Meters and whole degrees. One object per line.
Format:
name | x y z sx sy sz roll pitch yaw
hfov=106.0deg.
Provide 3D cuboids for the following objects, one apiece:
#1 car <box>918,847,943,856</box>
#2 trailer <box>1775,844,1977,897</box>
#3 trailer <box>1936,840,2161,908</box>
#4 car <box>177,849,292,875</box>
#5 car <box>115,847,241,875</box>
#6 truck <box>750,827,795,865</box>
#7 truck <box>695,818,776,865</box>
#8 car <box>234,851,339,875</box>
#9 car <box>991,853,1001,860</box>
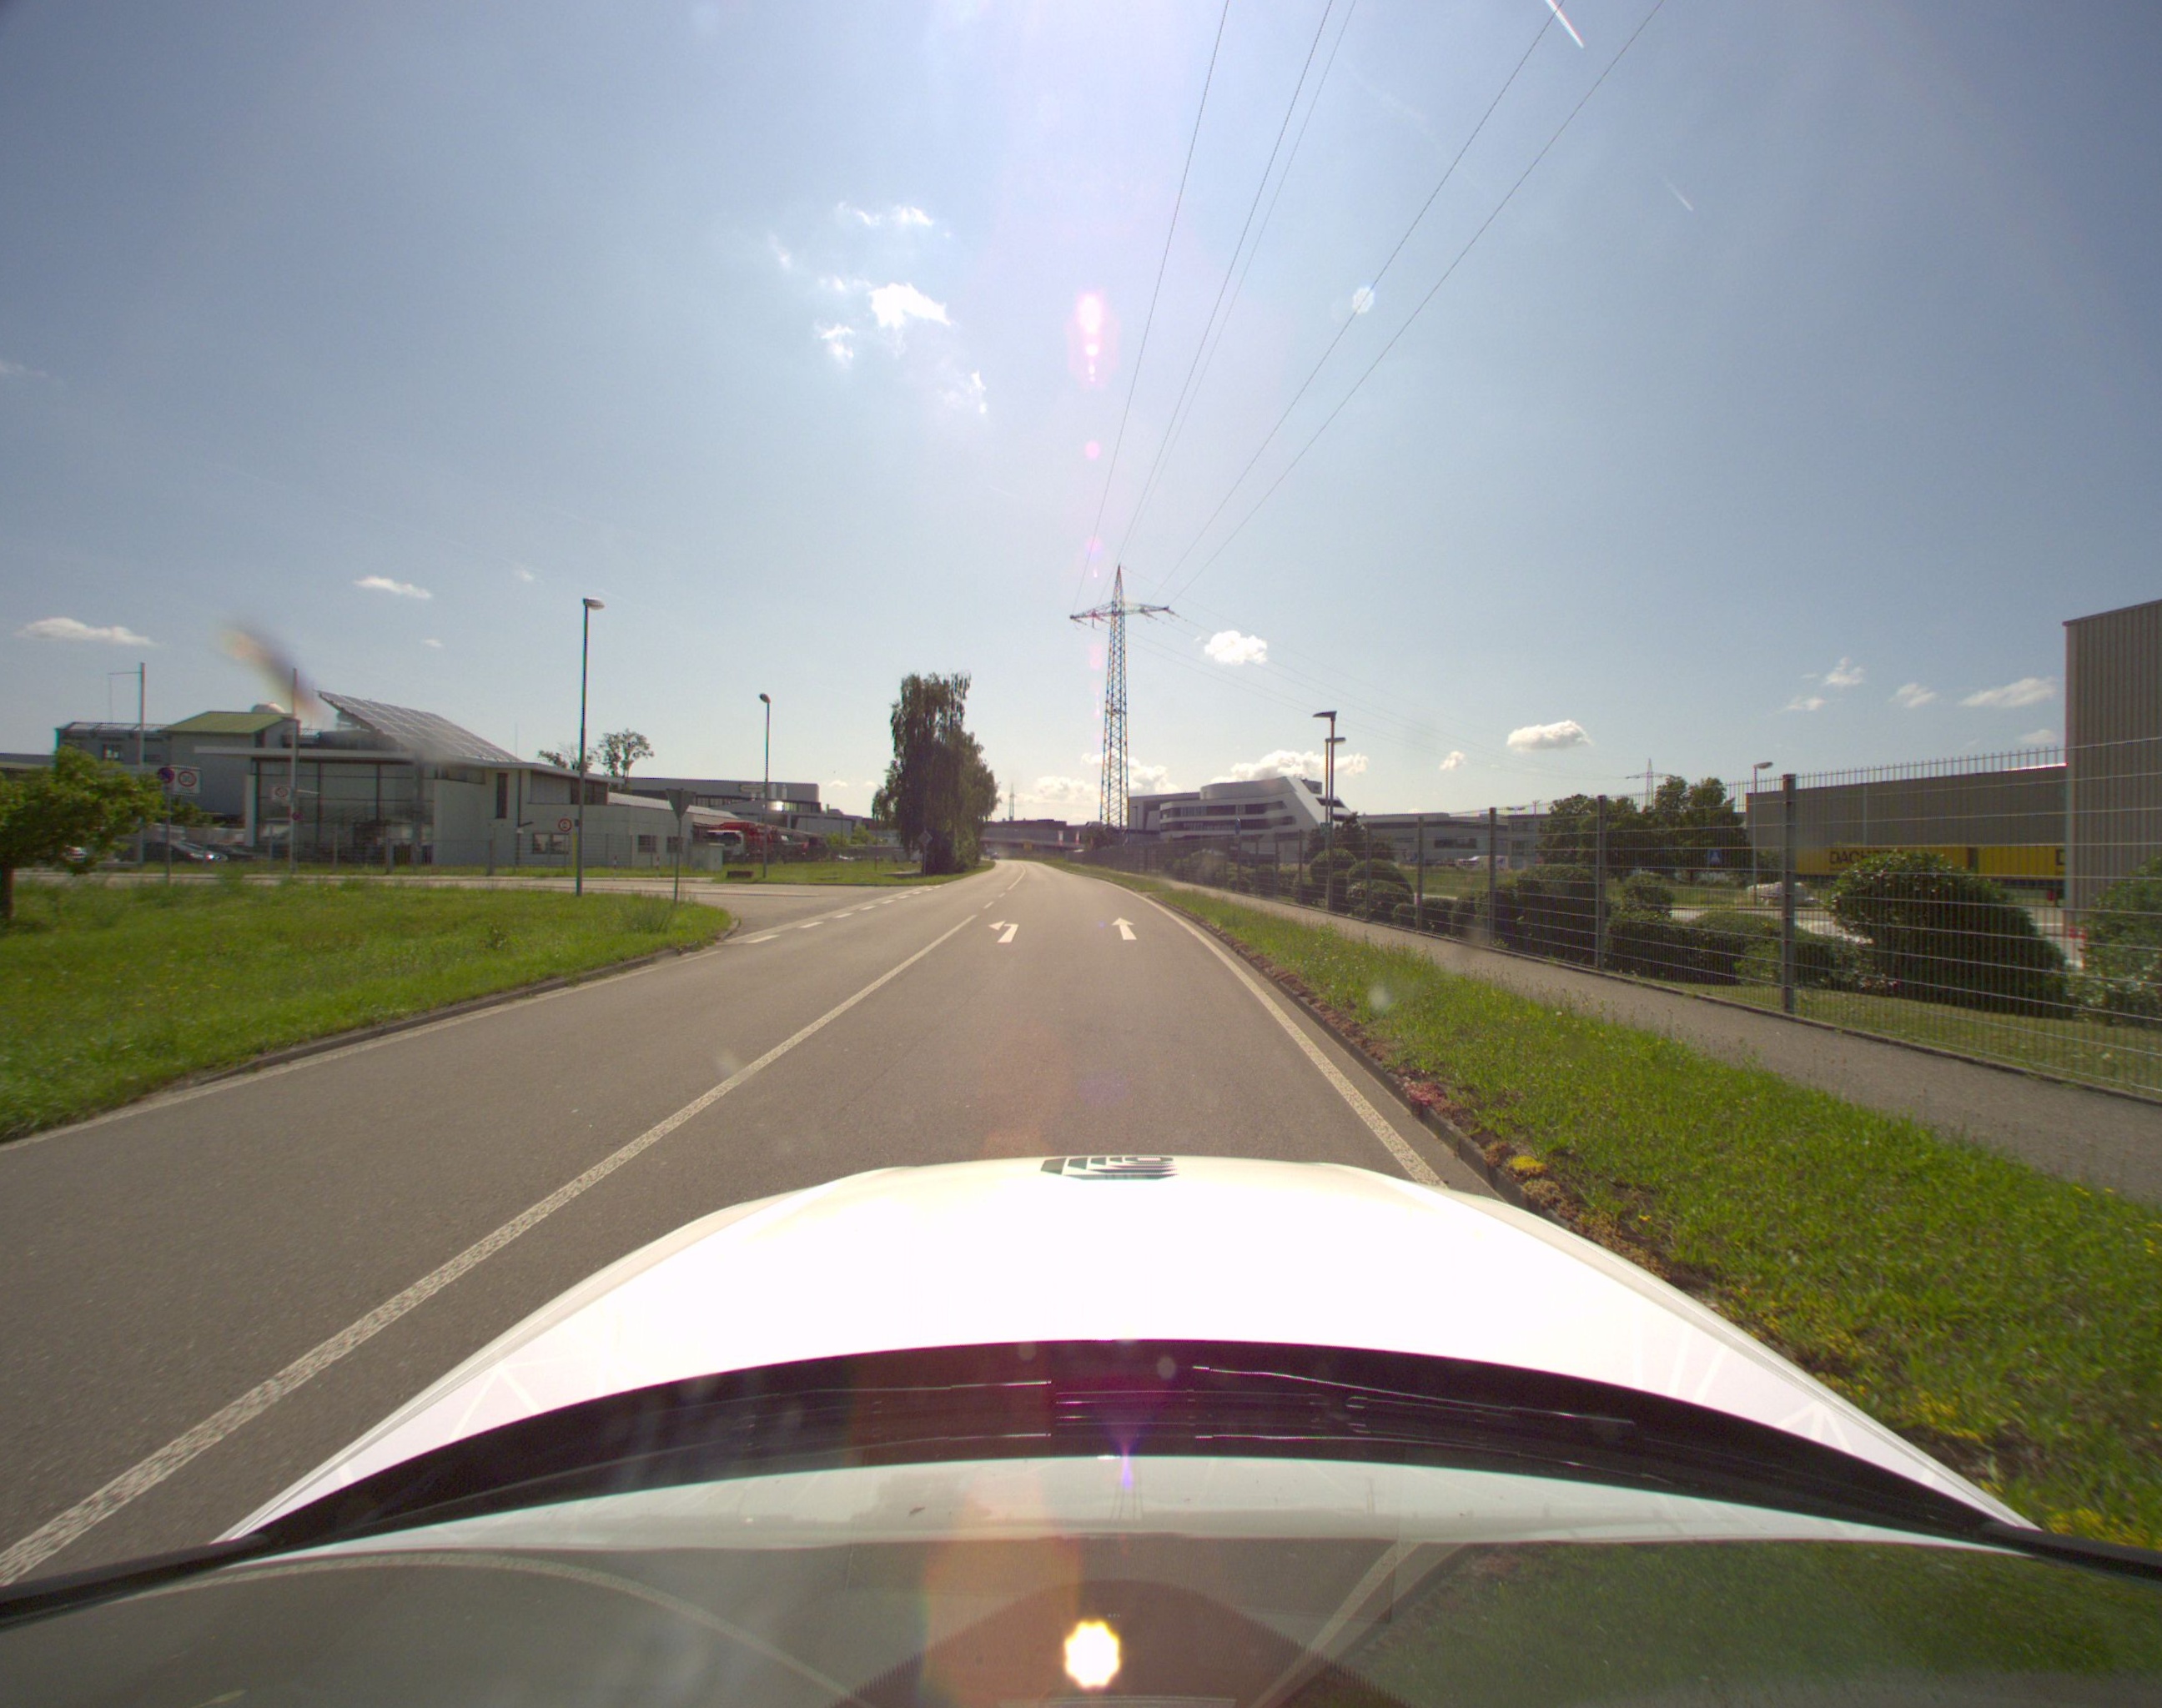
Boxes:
car | -26.179 -0.416 141.782 3.981 1.574 1.996 1 0 -6
trailer | 61.913 1.164 64.216 2.911 3.766 12.738 1 0 -3
trailer | 62.478 1.178 50.433 2.927 3.841 15.048 1 0 -2
car | -44.576 0.416 42.955 3.979 1.244 1.801 1 0 -4
car | -44.750 0.339 40.439 3.979 1.244 1.801 1 0 -4
truck | -29.598 -0.732 78.262 2.430 3.452 5.435 1 0 -3
truck | -28.380 -0.978 67.479 2.747 3.558 10.255 1 0 -3
car | -44.745 0.491 45.931 3.979 1.244 1.801 1 0 -4
car | -20.163 0.519 193.028 2.011 1.508 3.989 1 0 -8
